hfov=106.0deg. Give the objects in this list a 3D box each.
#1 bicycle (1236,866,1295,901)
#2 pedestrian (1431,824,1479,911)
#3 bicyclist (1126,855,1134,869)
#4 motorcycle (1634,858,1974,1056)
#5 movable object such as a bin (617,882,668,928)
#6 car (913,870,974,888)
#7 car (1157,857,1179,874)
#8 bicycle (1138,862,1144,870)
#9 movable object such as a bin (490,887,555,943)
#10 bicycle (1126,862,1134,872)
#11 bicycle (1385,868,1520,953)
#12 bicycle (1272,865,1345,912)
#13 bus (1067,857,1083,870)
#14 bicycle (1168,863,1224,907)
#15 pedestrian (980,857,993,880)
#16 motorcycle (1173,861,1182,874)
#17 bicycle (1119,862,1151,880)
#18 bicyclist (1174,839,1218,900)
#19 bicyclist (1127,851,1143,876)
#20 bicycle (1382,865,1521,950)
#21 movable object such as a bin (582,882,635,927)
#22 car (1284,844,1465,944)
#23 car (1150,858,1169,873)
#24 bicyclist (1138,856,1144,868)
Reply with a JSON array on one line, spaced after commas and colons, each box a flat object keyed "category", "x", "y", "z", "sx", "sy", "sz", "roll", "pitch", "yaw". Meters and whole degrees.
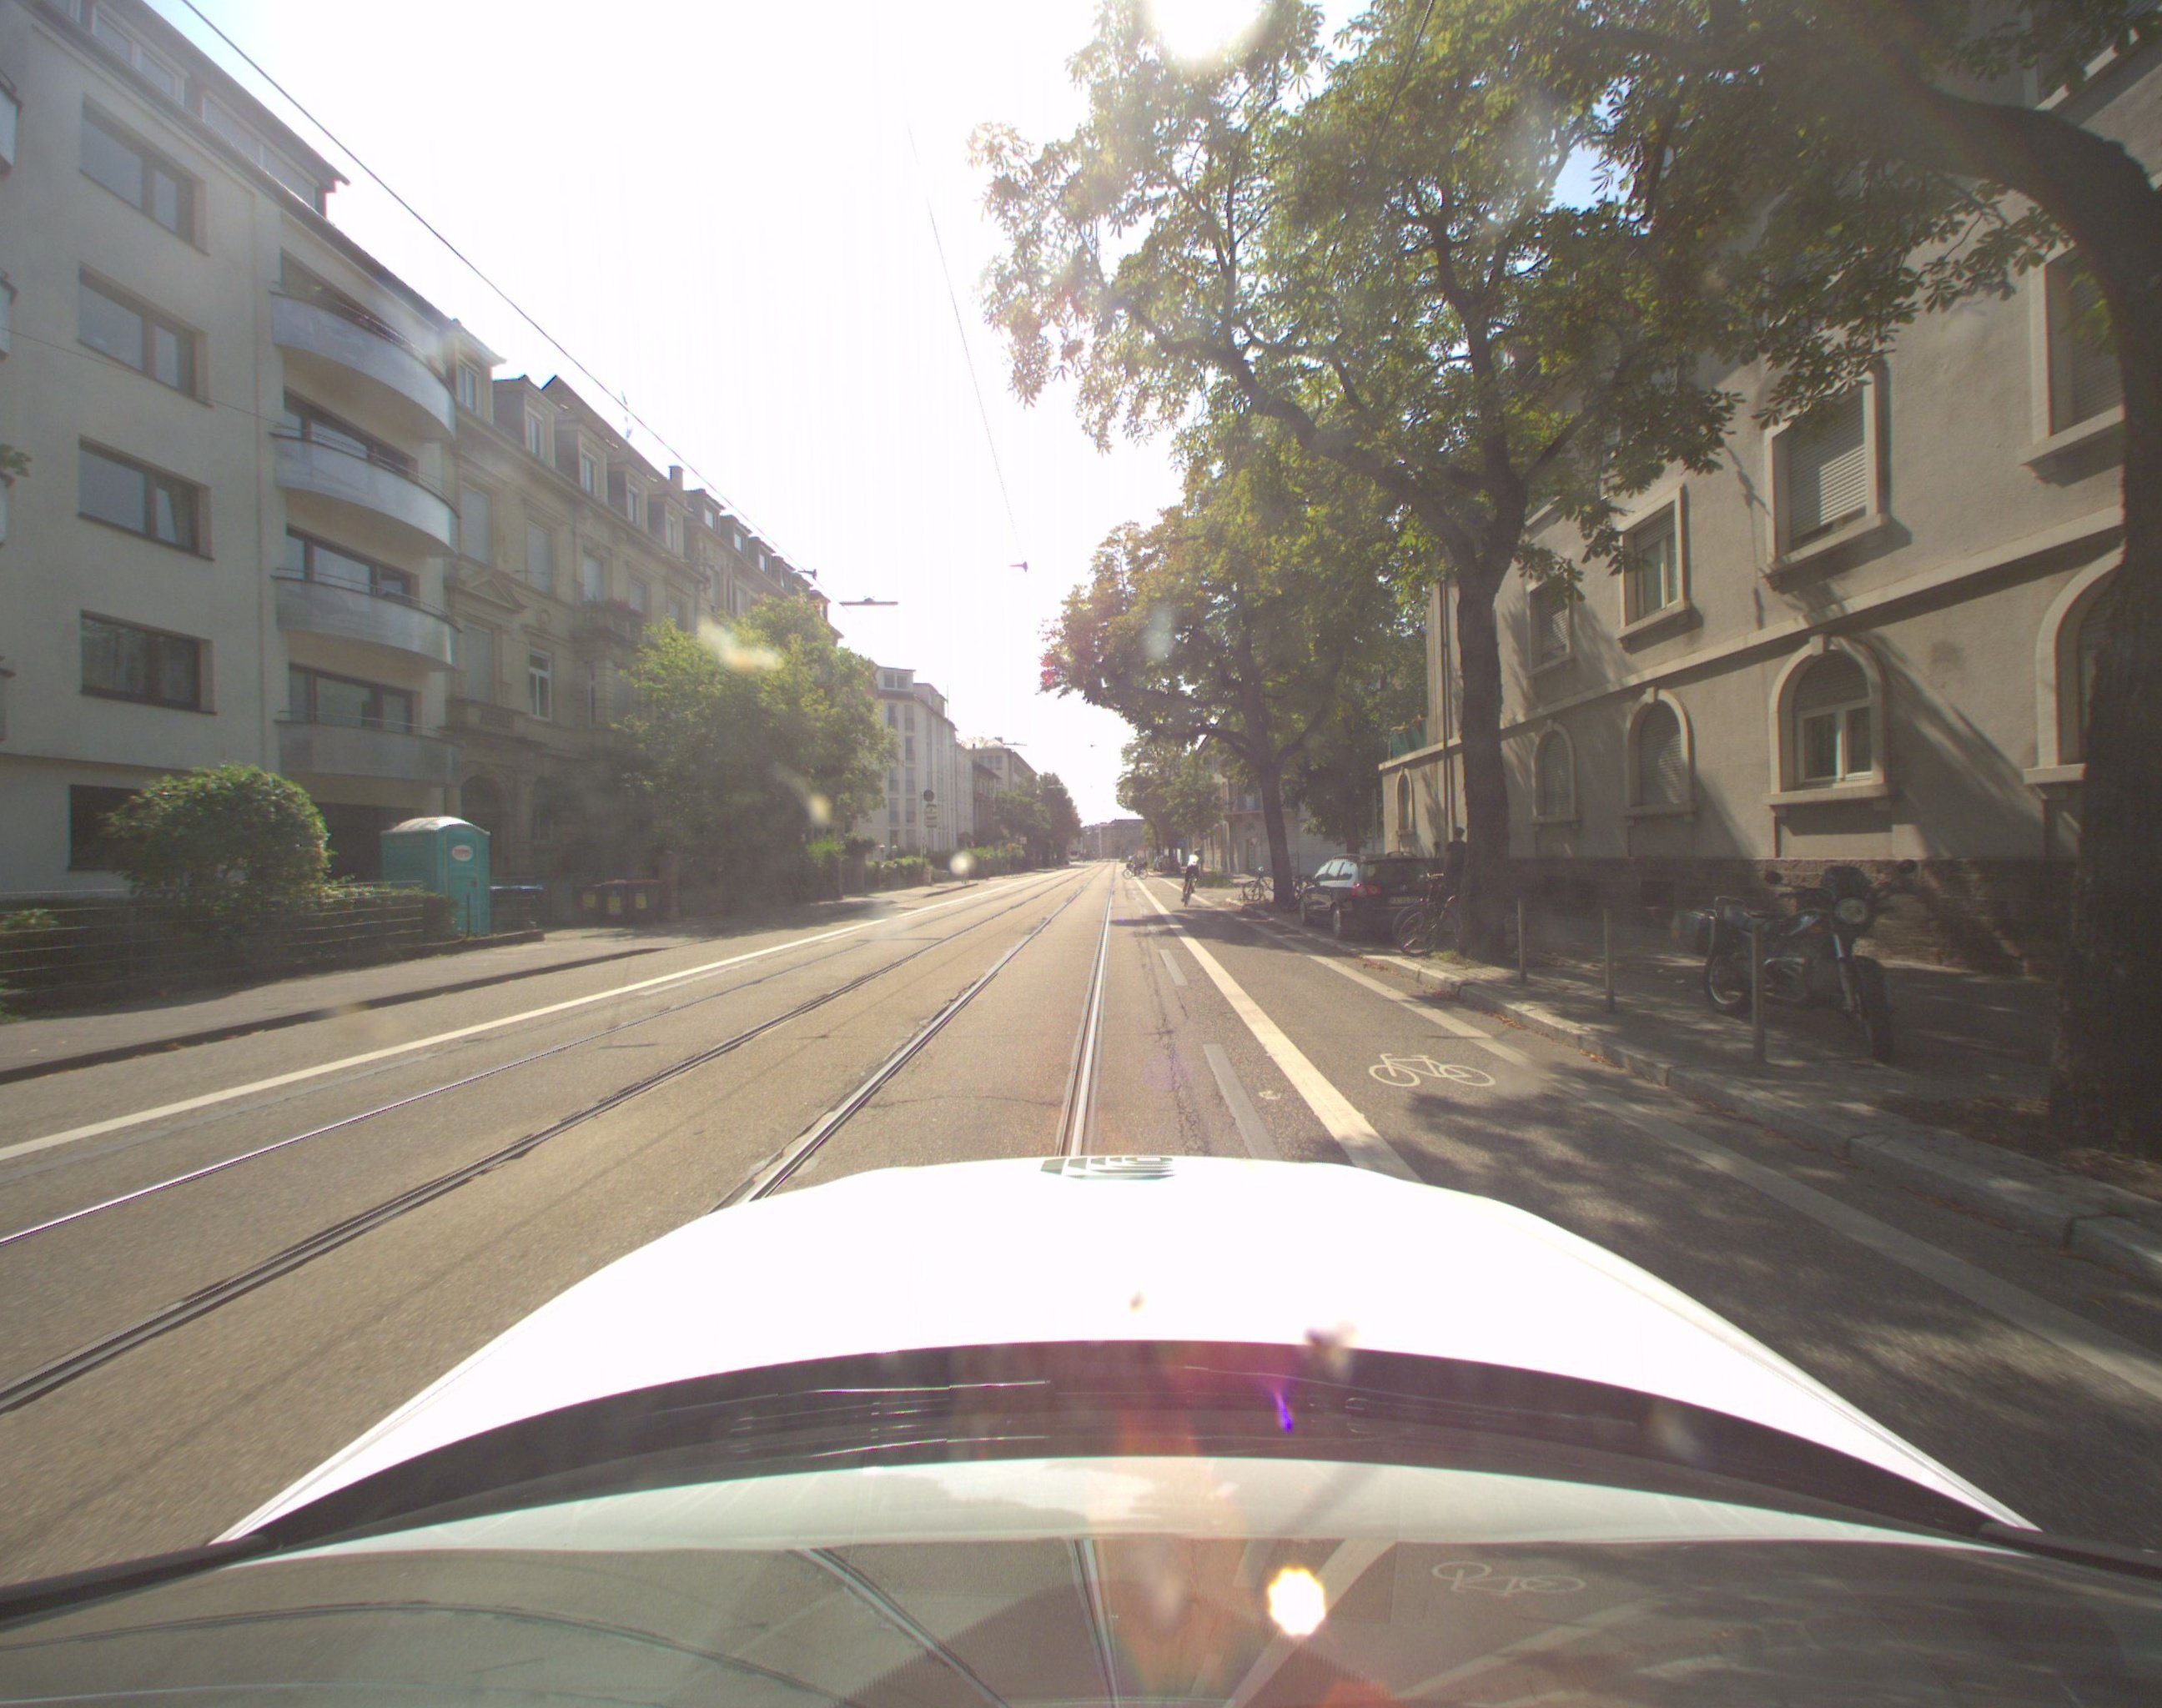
[{"category": "bicycle", "x": 5.759, "y": 0.911, "z": 25.433, "sx": 1.706, "sy": 1.032, "sz": 0.567, "roll": -2, "pitch": -1, "yaw": 3}, {"category": "pedestrian", "x": 8.363, "y": 0.301, "z": 18.233, "sx": 0.703, "sy": 1.892, "sz": 0.715, "roll": -2, "pitch": -1, "yaw": 4}, {"category": "bicyclist", "x": 5.094, "y": 0.851, "z": 84.164, "sx": 0.755, "sy": 1.392, "sz": 0.780, "roll": -2, "pitch": -1, "yaw": 4}, {"category": "motorcycle", "x": 5.386, "y": 0.671, "z": 6.327, "sx": 0.708, "sy": 1.255, "sz": 2.177, "roll": -1, "pitch": -1, "yaw": 1}, {"category": "movable object such as a bin", "x": -10.766, "y": 1.242, "z": 20.013, "sx": 0.783, "sy": 1.076, "sz": 0.804, "roll": 0, "pitch": -1, "yaw": 5}, {"category": "car", "x": -10.750, "y": 1.980, "z": 63.688, "sx": 4.193, "sy": 1.184, "sz": 2.011, "roll": -3, "pitch": -2, "yaw": 22}, {"category": "car", "x": 7.865, "y": 1.032, "z": 73.827, "sx": 1.578, "sy": 1.464, "sz": 3.415, "roll": -2, "pitch": -2, "yaw": 1}, {"category": "bicycle", "x": 6.677, "y": 1.343, "z": 90.671, "sx": 0.585, "sy": 0.939, "sz": 2.174, "roll": -2, "pitch": -1, "yaw": 5}, {"category": "movable object such as a bin", "x": -11.328, "y": 1.224, "z": 16.531, "sx": 0.784, "sy": 1.076, "sz": 0.755, "roll": 0, "pitch": -1, "yaw": 0}, {"category": "bicycle", "x": 5.104, "y": 1.366, "z": 84.122, "sx": 0.755, "sy": 0.991, "sz": 2.301, "roll": -2, "pitch": -1, "yaw": 5}, {"category": "bicycle", "x": 5.015, "y": 0.765, "z": 11.039, "sx": 1.596, "sy": 1.104, "sz": 0.399, "roll": -1, "pitch": -1, "yaw": 8}, {"category": "bicycle", "x": 5.711, "y": 0.865, "z": 20.528, "sx": 1.712, "sy": 1.137, "sz": 0.378, "roll": -2, "pitch": -1, "yaw": 8}, {"category": "bus", "x": -1.702, "y": 2.803, "z": 233.643, "sx": 3.721, "sy": 3.364, "sz": 15.125, "roll": -2, "pitch": -1, "yaw": 2}, {"category": "bicycle", "x": 3.632, "y": 0.935, "z": 25.478, "sx": 1.138, "sy": 1.269, "sz": 2.726, "roll": -2, "pitch": -1, "yaw": 20}, {"category": "pedestrian", "x": -7.454, "y": 1.159, "z": 64.407, "sx": 0.776, "sy": 1.756, "sz": 1.041, "roll": -2, "pitch": -1, "yaw": 3}, {"category": "motorcycle", "x": 7.989, "y": 1.093, "z": 67.388, "sx": 0.546, "sy": 1.068, "sz": 2.332, "roll": -2, "pitch": -1, "yaw": 3}, {"category": "bicycle", "x": 3.634, "y": 1.165, "z": 54.727, "sx": 2.015, "sy": 1.151, "sz": 0.790, "roll": -2, "pitch": -1, "yaw": 30}, {"category": "bicyclist", "x": 3.603, "y": 0.476, "z": 25.447, "sx": 1.116, "sy": 1.837, "sz": 0.960, "roll": -2, "pitch": -1, "yaw": 19}, {"category": "bicyclist", "x": 3.638, "y": 0.646, "z": 54.727, "sx": 0.815, "sy": 1.643, "sz": 0.790, "roll": -2, "pitch": -1, "yaw": 30}, {"category": "bicycle", "x": 5.172, "y": 0.750, "z": 11.416, "sx": 1.712, "sy": 1.149, "sz": 0.378, "roll": -1, "pitch": -1, "yaw": 8}, {"category": "movable object such as a bin", "x": -11.576, "y": 1.231, "z": 19.982, "sx": 0.783, "sy": 1.076, "sz": 0.804, "roll": 0, "pitch": -1, "yaw": 5}, {"category": "car", "x": 5.344, "y": 0.666, "z": 15.580, "sx": 1.833, "sy": 1.532, "sz": 4.782, "roll": -3, "pitch": -1, "yaw": 2}, {"category": "car", "x": 7.799, "y": 1.152, "z": 81.544, "sx": 1.578, "sy": 1.464, "sz": 3.467, "roll": -2, "pitch": -2, "yaw": 1}, {"category": "bicyclist", "x": 6.652, "y": 0.895, "z": 90.570, "sx": 0.576, "sy": 1.279, "sz": 0.472, "roll": -2, "pitch": -1, "yaw": 4}]
